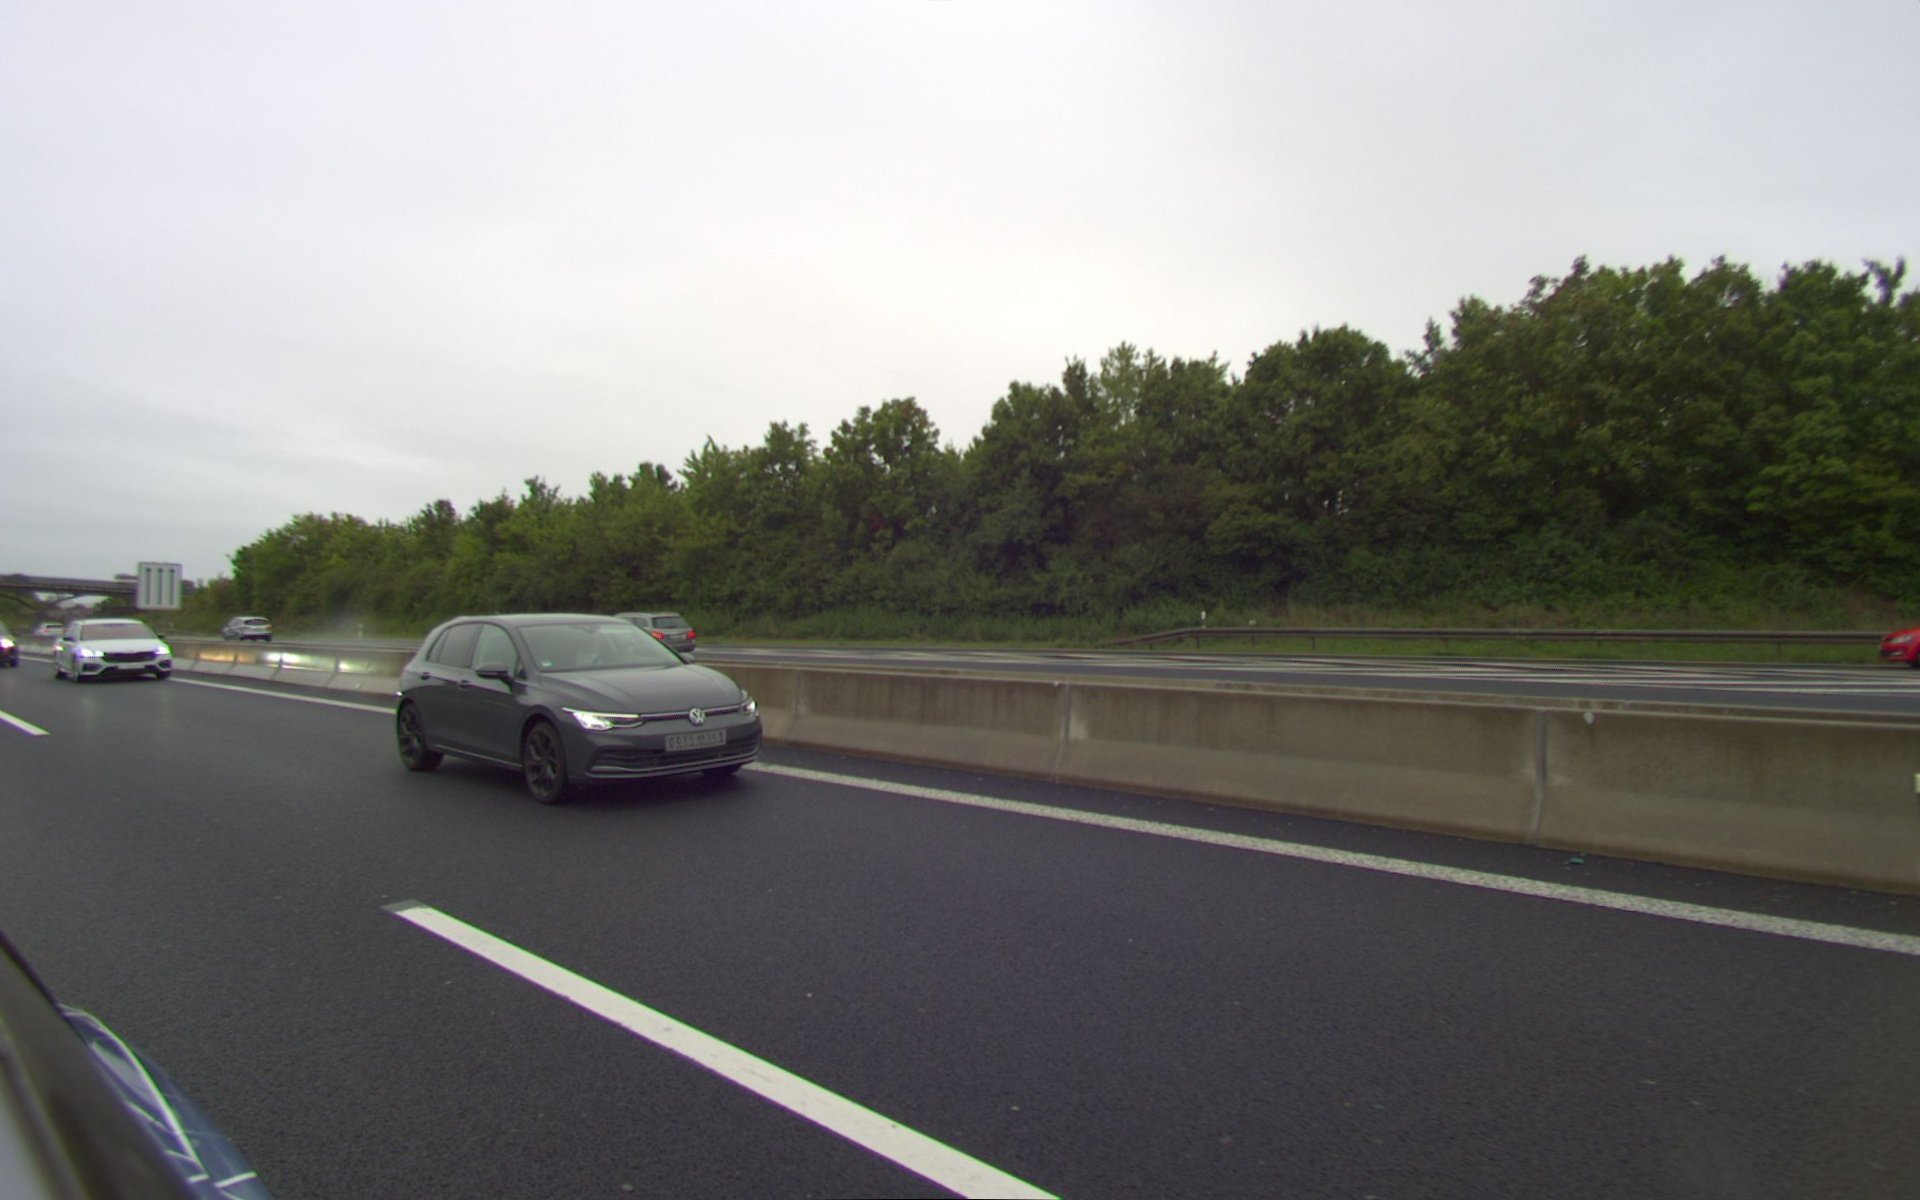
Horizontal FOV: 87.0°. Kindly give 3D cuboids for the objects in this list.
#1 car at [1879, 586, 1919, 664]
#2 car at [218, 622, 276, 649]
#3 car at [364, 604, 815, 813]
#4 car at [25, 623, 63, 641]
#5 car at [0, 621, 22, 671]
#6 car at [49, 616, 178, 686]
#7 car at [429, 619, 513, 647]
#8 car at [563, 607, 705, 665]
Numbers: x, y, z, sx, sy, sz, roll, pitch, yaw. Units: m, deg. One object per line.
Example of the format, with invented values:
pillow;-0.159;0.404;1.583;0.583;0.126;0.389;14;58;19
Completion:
car;23.308;0.510;21.951;4.612;1.708;2.163;-1;-1;32
car;-46.232;2.265;65.575;4.536;1.647;2.156;-2;-1;42
car;-3.485;0.786;9.051;4.456;1.416;1.881;-1;-1;41
car;-79.089;2.758;87.331;4.138;1.518;1.962;-1;-1;41
car;-31.062;1.447;31.904;4.113;1.518;1.880;-2;-1;43
car;-20.518;1.180;24.470;4.113;1.518;1.880;-2;-1;43
car;-26.578;1.777;55.012;4.373;1.441;2.163;-1;-1;32
car;-10.472;1.117;32.259;5.252;1.708;2.155;-2;-1;44
